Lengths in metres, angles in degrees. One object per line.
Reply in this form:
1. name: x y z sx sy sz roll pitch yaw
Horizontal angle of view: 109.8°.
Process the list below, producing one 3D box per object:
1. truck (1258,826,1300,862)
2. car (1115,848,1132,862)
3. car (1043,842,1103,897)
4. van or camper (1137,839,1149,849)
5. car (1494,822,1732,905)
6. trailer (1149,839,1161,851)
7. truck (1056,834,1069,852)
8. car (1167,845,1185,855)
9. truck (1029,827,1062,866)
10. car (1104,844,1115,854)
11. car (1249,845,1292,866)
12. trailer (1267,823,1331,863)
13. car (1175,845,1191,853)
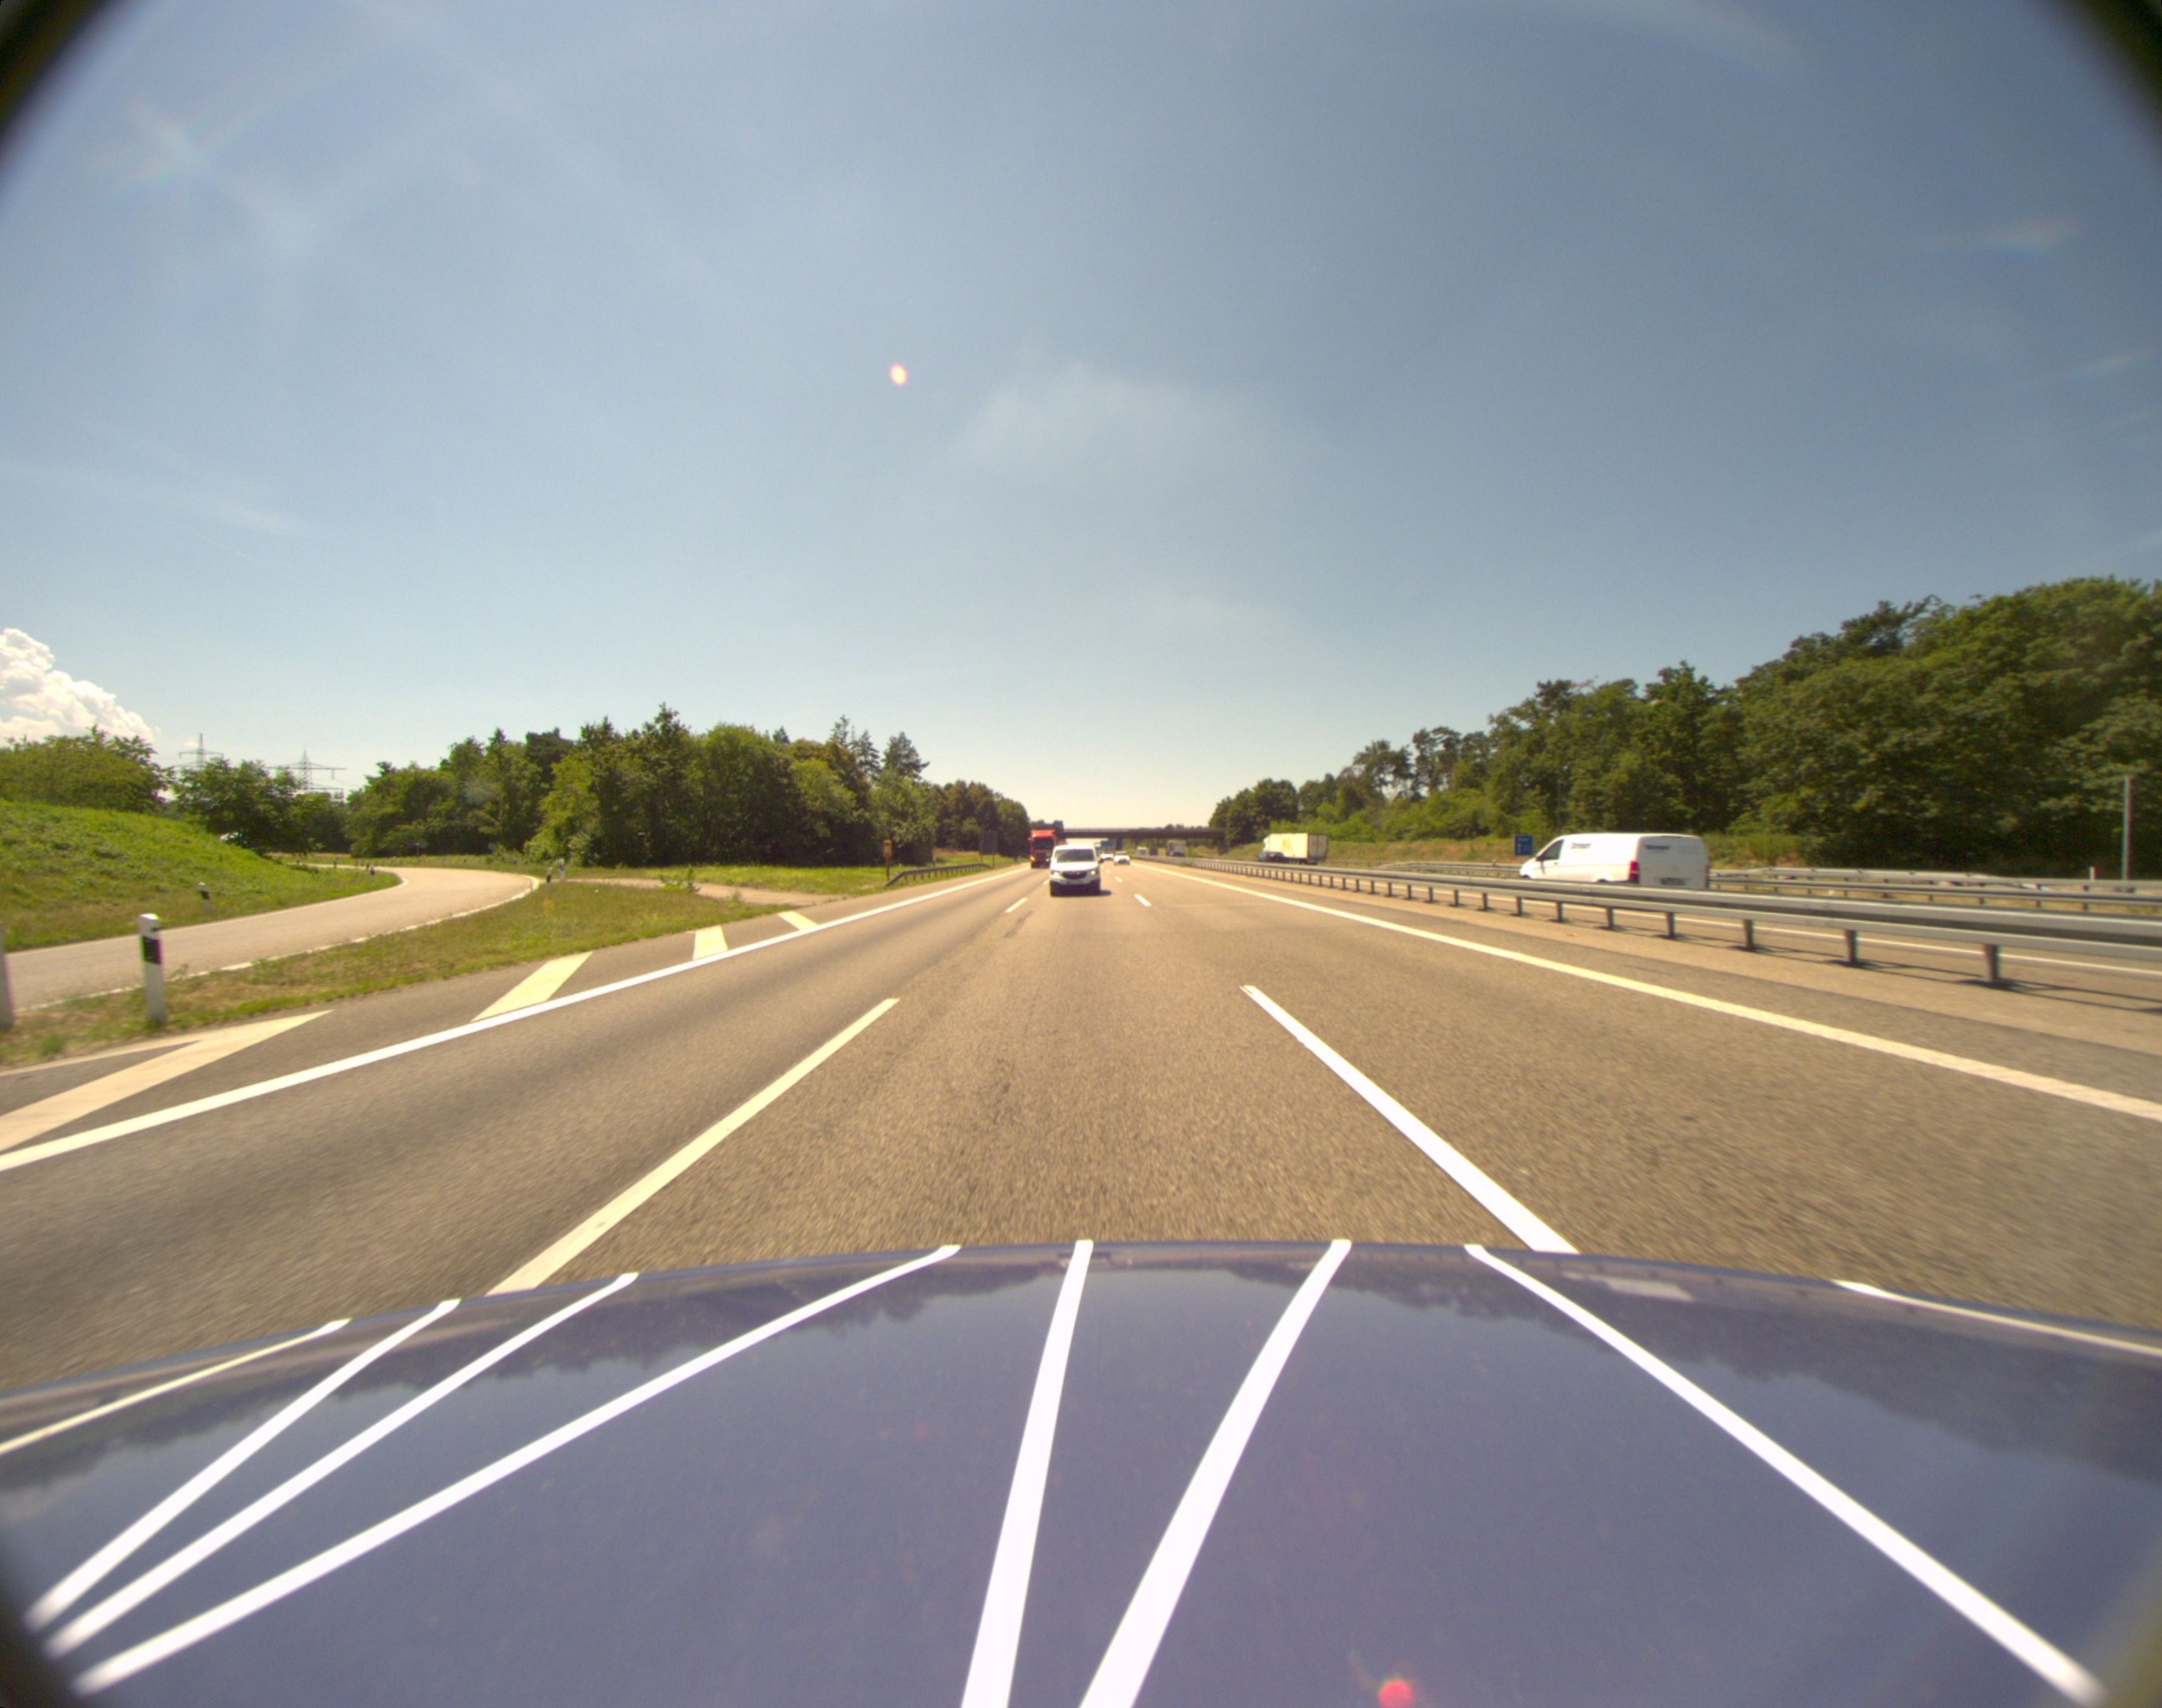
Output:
1. truck: 27.981 -1.379 107.654 3.080 4.799 7.711 2 0 -6
2. car: 4.565 0.155 81.725 1.581 1.411 3.353 -2 -1 0
3. car: -0.203 0.519 28.245 1.870 1.807 4.941 -2 0 3
4. van or camper: 18.908 -3.044 232.202 2.508 2.794 8.558 0 1 -2
5. car: 13.428 0.186 19.840 2.057 1.832 5.942 0 1 0
6. trailer: 18.718 -2.272 193.457 2.483 2.732 5.074 1 0 0
7. truck: -3.985 -2.411 168.207 2.535 3.712 6.098 -2 1 0
8. car: 14.509 -0.588 115.867 2.057 1.542 4.890 1 0 0
9. truck: -3.665 -0.779 81.142 2.687 3.776 12.477 -2 0 0
10. car: 4.523 -0.856 120.254 1.581 1.411 3.353 -2 -1 0
11. car: 14.505 0.089 58.522 2.057 1.542 4.890 1 0 0
12. trailer: 28.690 -1.363 100.838 3.080 4.799 13.757 2 0 -6
13. car: 18.950 -0.897 141.146 2.233 1.372 4.890 1 0 0
